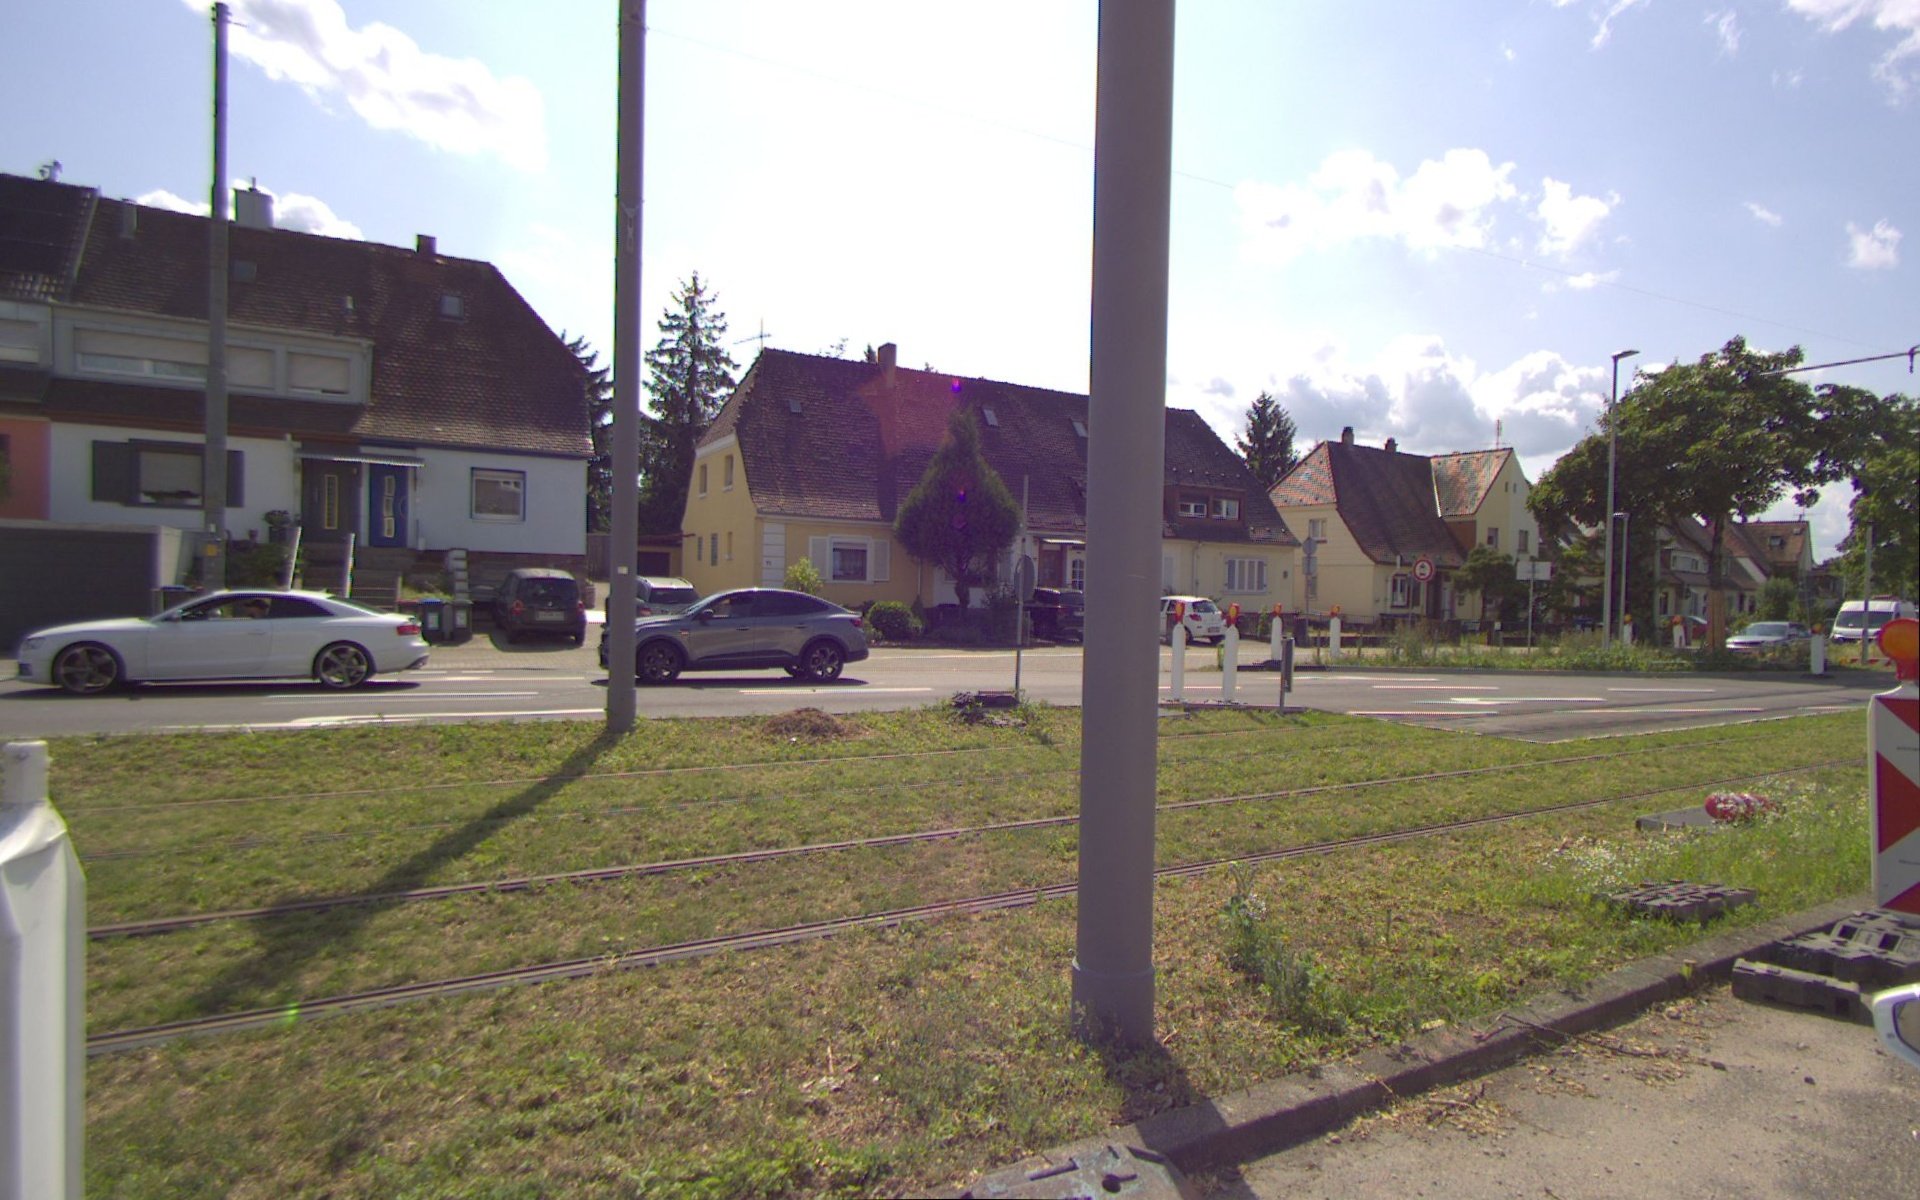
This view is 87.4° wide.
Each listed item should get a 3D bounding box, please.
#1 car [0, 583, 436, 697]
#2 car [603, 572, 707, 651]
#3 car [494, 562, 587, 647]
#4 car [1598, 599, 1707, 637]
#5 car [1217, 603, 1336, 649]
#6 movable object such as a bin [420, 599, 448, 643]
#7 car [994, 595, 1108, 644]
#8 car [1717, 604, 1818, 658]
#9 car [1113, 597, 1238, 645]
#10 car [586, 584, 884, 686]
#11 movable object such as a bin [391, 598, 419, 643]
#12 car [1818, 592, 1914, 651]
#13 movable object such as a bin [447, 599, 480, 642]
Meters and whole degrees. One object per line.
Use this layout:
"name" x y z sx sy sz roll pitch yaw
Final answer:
"car" -9.978 0.519 13.976 4.718 1.361 1.836 1 0 -28
"car" -7.739 0.232 25.259 1.586 1.512 3.932 1 5 -30
"car" -9.966 0.063 23.734 1.586 1.616 3.367 1 5 -30
"car" 35.459 0.905 51.519 2.078 1.800 4.084 1 0 -32
"car" 11.142 0.884 35.635 1.684 1.417 3.969 1 2 -29
"movable object such as a bin" -11.611 0.450 22.156 0.511 0.946 0.678 1 0 -30
"car" 2.830 0.595 31.934 1.917 1.423 3.603 1 0 -30
"car" 29.341 1.094 36.478 4.087 1.800 2.077 1 0 -40
"car" 7.218 0.676 34.075 1.967 1.486 4.090 1 0 -29
"car" -3.818 0.572 17.103 4.672 1.555 1.838 1 0 -24
"movable object such as a bin" -12.080 0.446 21.853 0.511 0.946 0.678 1 0 -30
"car" 38.955 0.914 43.166 4.839 2.369 2.387 1 0 -40
"movable object such as a bin" -11.100 0.454 22.459 0.599 0.946 0.690 1 0 -31
